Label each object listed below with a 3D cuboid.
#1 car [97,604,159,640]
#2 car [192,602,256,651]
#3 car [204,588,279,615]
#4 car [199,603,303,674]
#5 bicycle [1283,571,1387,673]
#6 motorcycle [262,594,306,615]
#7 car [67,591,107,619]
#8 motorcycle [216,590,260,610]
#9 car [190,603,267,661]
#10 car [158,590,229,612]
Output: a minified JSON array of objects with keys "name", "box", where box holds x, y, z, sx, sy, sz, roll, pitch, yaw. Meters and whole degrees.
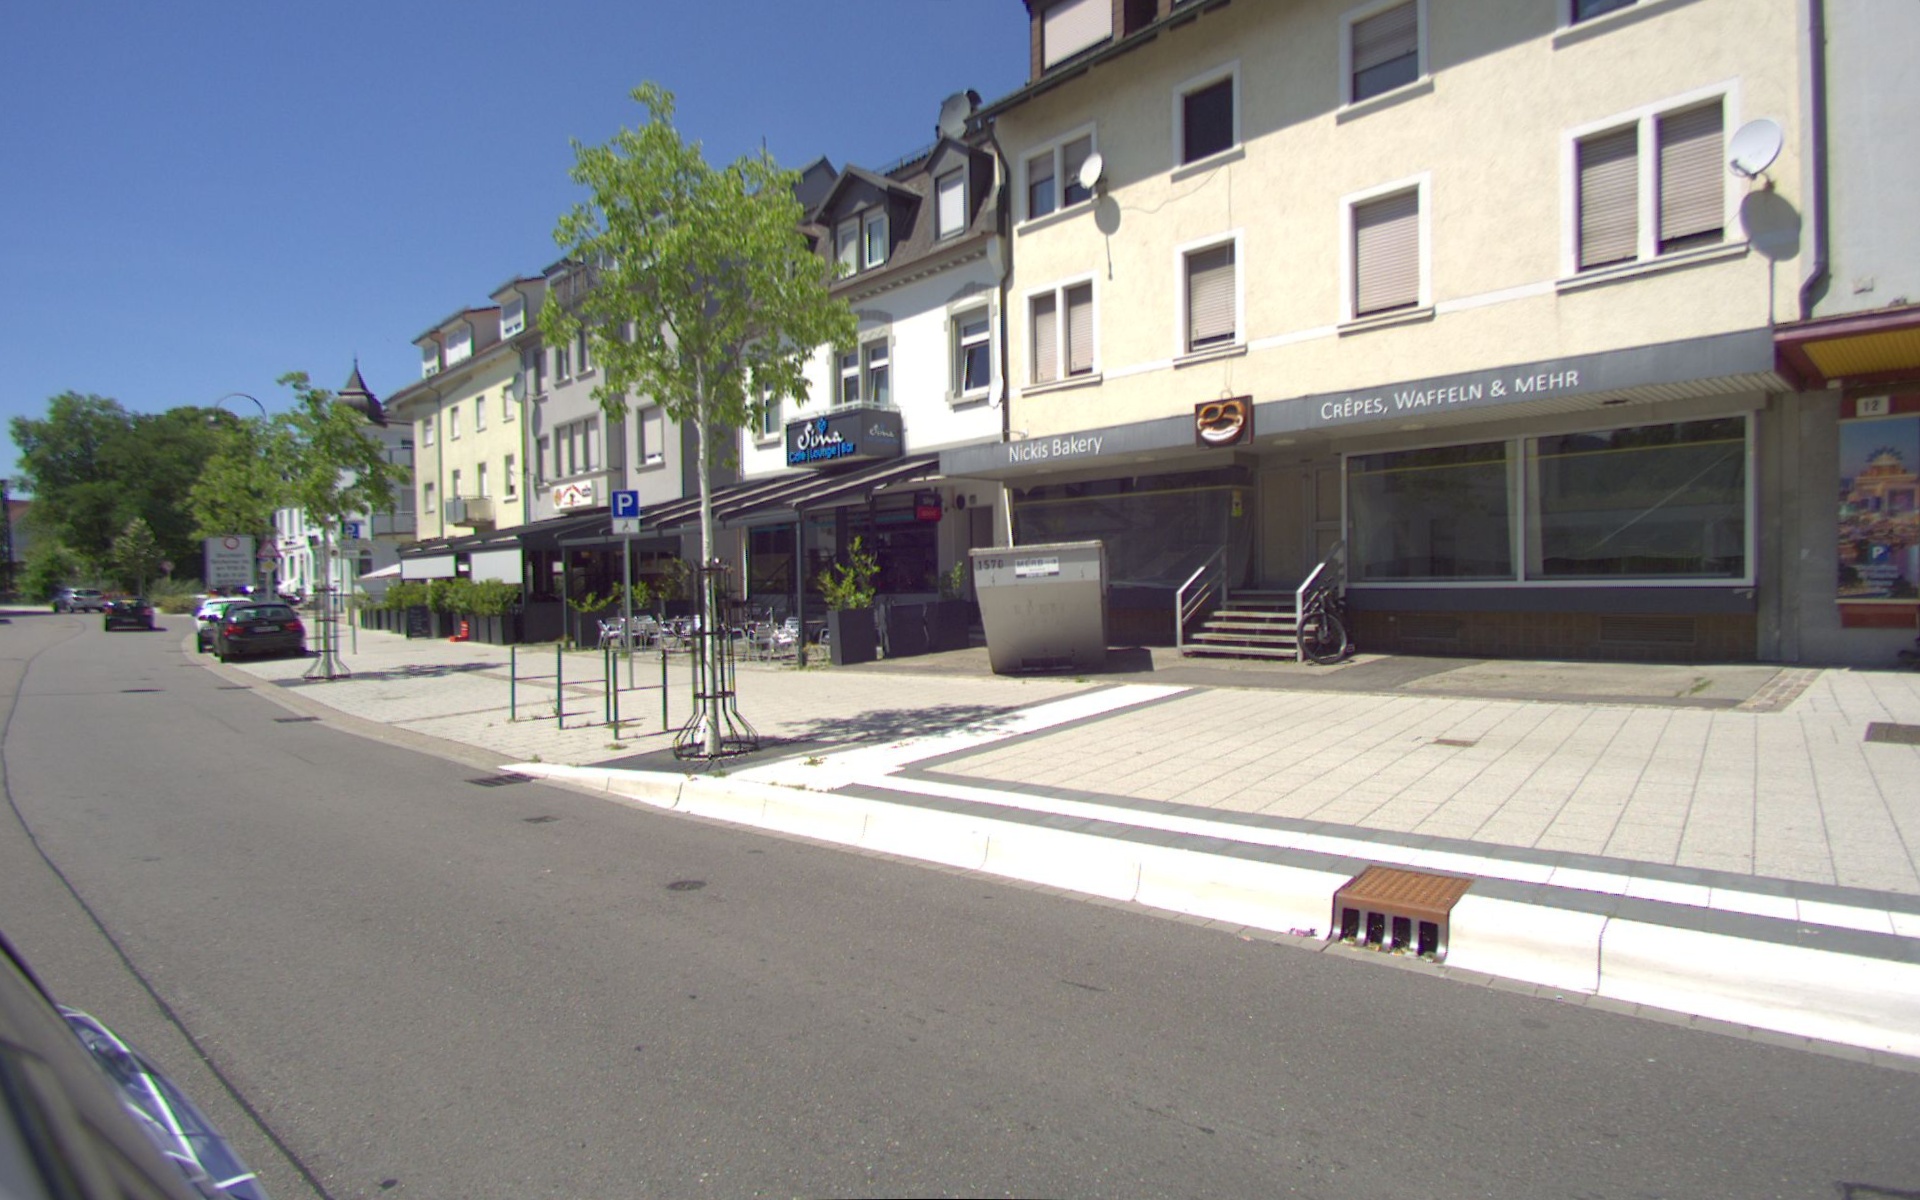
[{"name":"car","box":[-35.298,0.910,42.992,1.594,1.465,3.874,1,-1,-33]},{"name":"car","box":[-25.942,0.877,35.617,1.659,1.495,4.349,-3,2,-37]},{"name":"car","box":[-48.276,0.085,67.992,4.017,1.752,1.818,-1,0,-38]},{"name":"car","box":[-17.934,0.892,25.527,1.732,1.456,4.457,-5,4,-39]},{"name":"bicycle","box":[5.216,0.269,14.007,1.745,1.243,0.617,-5,3,-44]},{"name":"motorcycle","box":[-43.471,0.271,65.098,2.288,1.335,0.727,-1,0,-40]},{"name":"car","box":[-52.141,0.264,60.509,1.659,1.495,4.094,-1,2,-39]},{"name":"motorcycle","box":[-47.101,-0.005,65.998,2.288,1.335,0.727,-1,0,-40]},{"name":"car","box":[-21.485,0.875,29.659,1.659,1.495,3.776,-3,2,-37]},{"name":"car","box":[-56.075,0.090,74.107,1.817,1.548,3.924,0,0,13]}]
